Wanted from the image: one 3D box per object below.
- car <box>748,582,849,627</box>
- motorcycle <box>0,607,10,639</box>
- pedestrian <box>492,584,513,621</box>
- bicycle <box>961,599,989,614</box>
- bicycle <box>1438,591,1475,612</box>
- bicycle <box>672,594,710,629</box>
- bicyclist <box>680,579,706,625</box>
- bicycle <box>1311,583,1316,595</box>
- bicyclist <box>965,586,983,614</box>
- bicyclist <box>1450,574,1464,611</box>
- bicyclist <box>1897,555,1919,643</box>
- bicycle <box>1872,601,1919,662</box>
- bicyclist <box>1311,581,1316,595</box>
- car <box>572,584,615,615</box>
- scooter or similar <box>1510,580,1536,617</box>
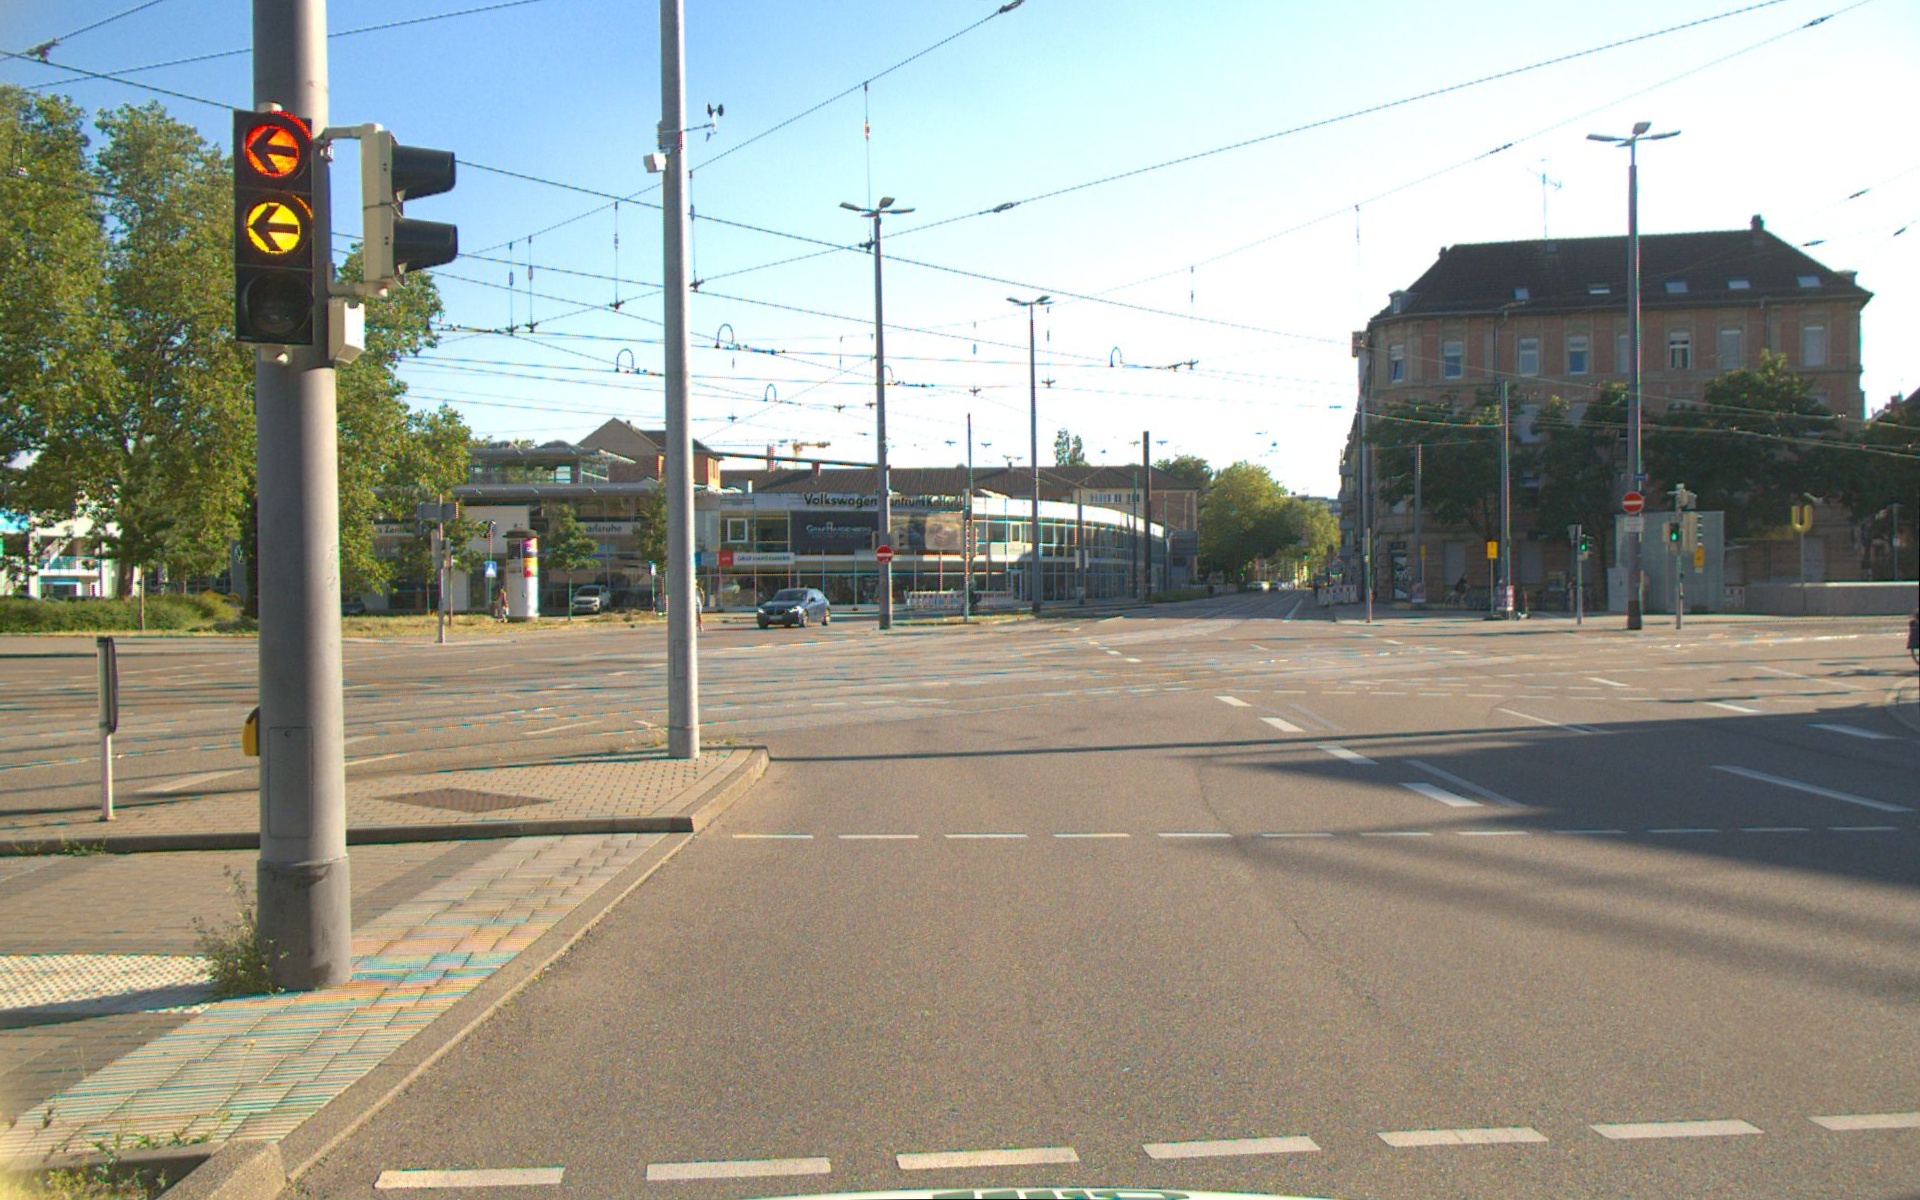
[{"bbox_3d":[-5.975,0.170,61.682,1.954,1.613,3.996,1,0,26],"label":"car"},{"bbox_3d":[-28.923,0.671,48.507,1.748,0.930,0.675,1,0,-21],"label":"motorcycle"},{"bbox_3d":[-21.868,0.125,79.054,0.839,1.723,0.496,1,-1,-3],"label":"pedestrian"},{"bbox_3d":[0.897,0.387,96.549,0.626,0.885,2.231,1,0,29],"label":"bicycle"},{"bbox_3d":[23.650,0.070,78.763,1.566,0.969,0.657,1,0,33],"label":"bicycle"},{"bbox_3d":[-9.687,0.419,59.626,0.599,1.210,1.870,1,0,17],"label":"bicycle"},{"bbox_3d":[-9.642,0.086,59.764,0.585,1.644,0.823,1,-1,17],"label":"bicyclist"},{"bbox_3d":[28.846,-0.871,135.013,0.401,0.958,1.847,1,0,12],"label":"bicycle"},{"bbox_3d":[0.826,0.010,96.423,0.641,1.600,0.921,1,-1,28],"label":"bicyclist"},{"bbox_3d":[23.666,-0.343,78.757,0.505,1.730,0.519,1,-1,33],"label":"bicyclist"},{"bbox_3d":[17.607,-0.016,30.077,0.505,1.584,0.945,1,0,-10],"label":"bicyclist"},{"bbox_3d":[17.607,0.594,30.006,0.524,1.067,2.316,1,1,-9],"label":"bicycle"},{"bbox_3d":[28.835,-0.970,134.898,0.399,1.136,0.399,1,-1,11],"label":"bicyclist"},{"bbox_3d":[-21.923,-0.021,99.063,1.954,1.780,3.997,1,0,-4],"label":"car"},{"bbox_3d":[21.579,-0.054,63.423,0.769,1.400,1.910,1,0,13],"label":"scooter or similar"}]
